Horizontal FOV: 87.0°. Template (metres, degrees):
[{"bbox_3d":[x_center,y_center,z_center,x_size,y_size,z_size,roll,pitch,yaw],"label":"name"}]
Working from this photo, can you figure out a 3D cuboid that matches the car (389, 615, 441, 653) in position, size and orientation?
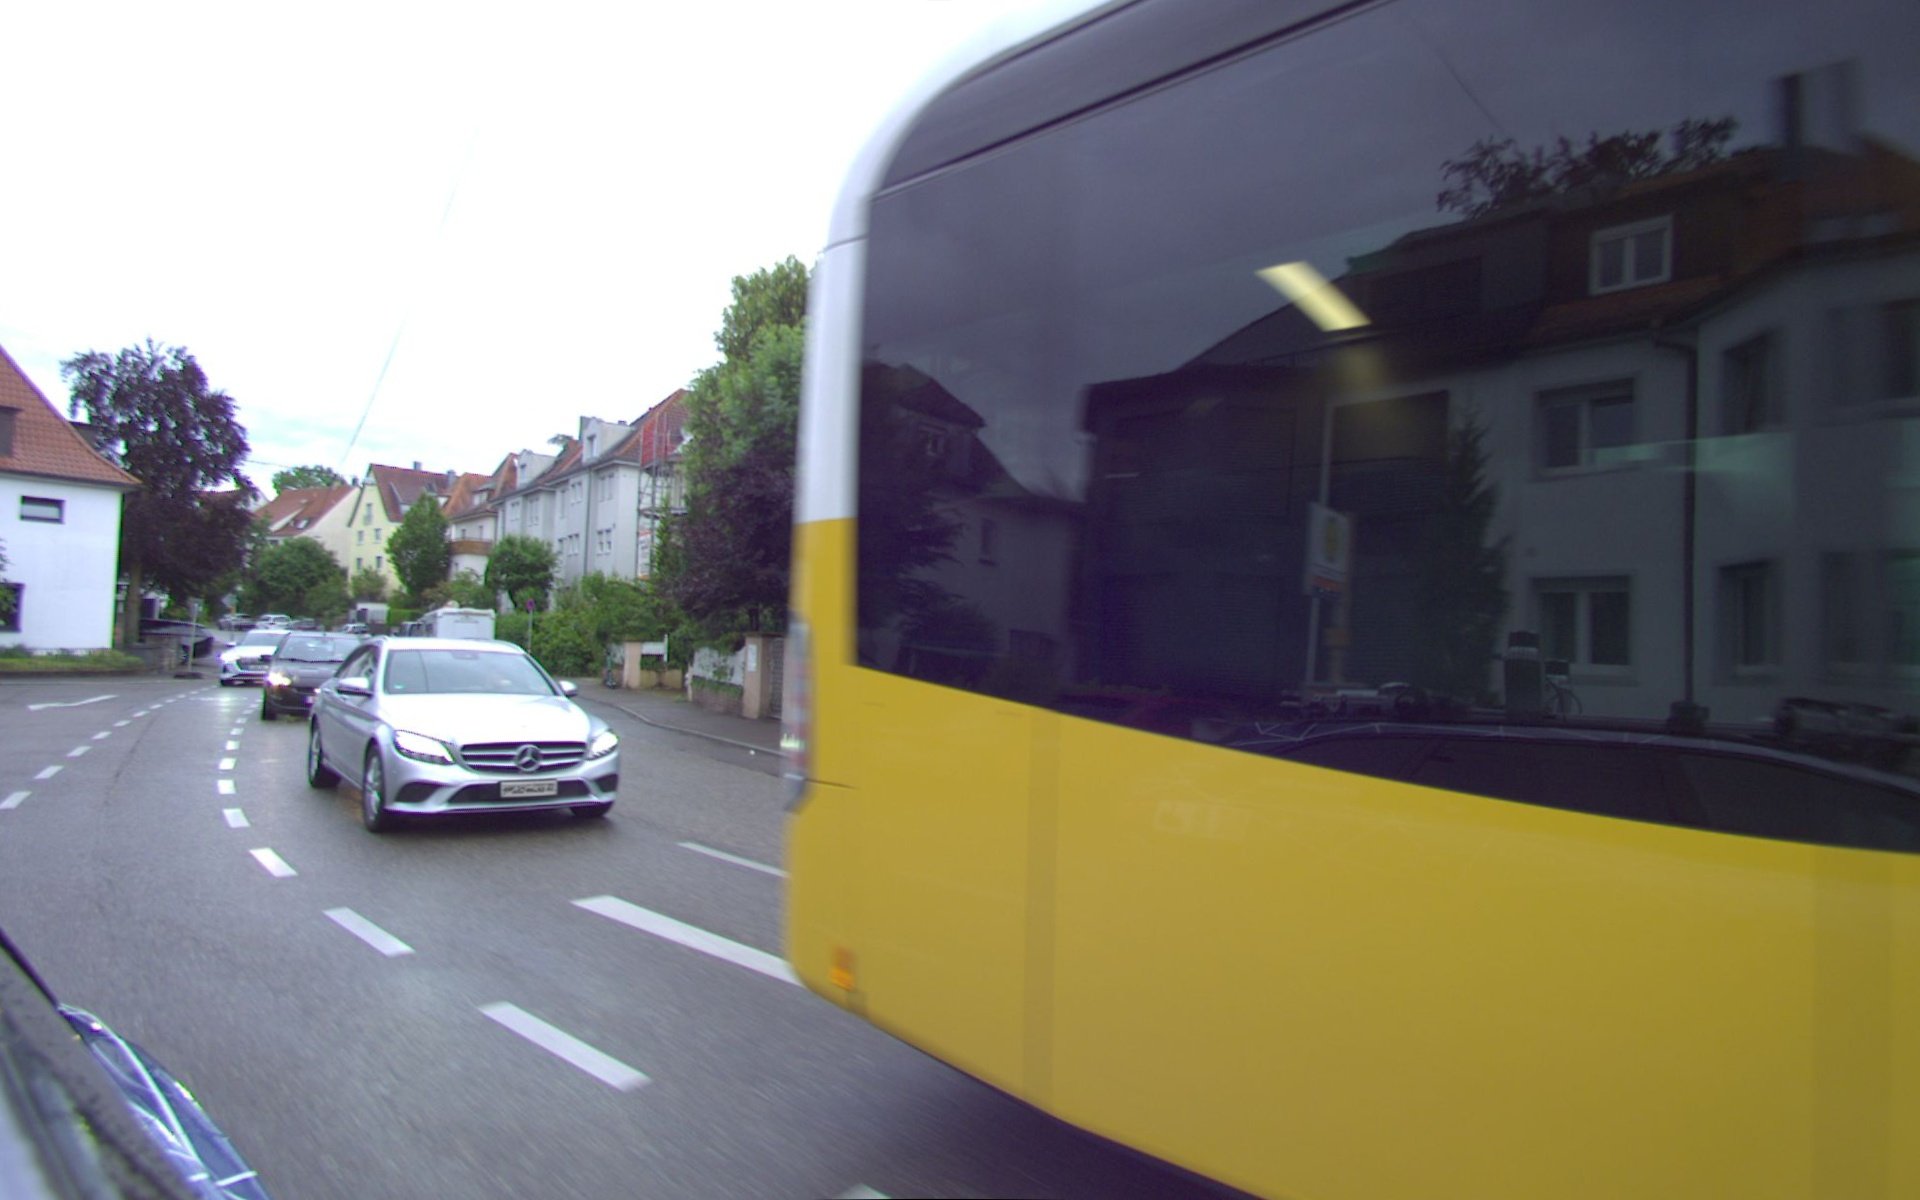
[{"bbox_3d":[-30.360,1.840,56.324,1.808,2.003,4.591,1,-1,-38],"label":"car"}]

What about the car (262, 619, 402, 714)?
[{"bbox_3d":[-11.101,1.081,17.784,1.868,1.475,3.691,2,-2,-35],"label":"car"}]

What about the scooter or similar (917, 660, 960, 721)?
[{"bbox_3d":[-0.408,1.685,18.949,0.599,1.070,0.766,1,-1,-18],"label":"scooter or similar"}]

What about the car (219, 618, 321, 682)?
[{"bbox_3d":[-19.994,1.397,29.471,1.765,1.712,3.903,1,-1,-24],"label":"car"}]

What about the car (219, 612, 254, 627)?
[{"bbox_3d":[-69.625,1.894,97.389,4.433,1.383,1.658,-1,-2,40],"label":"car"}]

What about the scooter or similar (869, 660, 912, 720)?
[{"bbox_3d":[-1.310,1.680,19.021,0.599,1.070,0.766,1,-1,-18],"label":"scooter or similar"}]

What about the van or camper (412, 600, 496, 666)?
[{"bbox_3d":[-22.573,1.438,45.018,2.316,2.746,6.131,3,-2,-36],"label":"van or camper"}]

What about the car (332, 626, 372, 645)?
[{"bbox_3d":[-44.750,2.606,74.434,3.441,1.383,1.656,-1,-2,44],"label":"car"}]

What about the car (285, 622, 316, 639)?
[{"bbox_3d":[-55.366,2.572,84.921,1.655,1.383,3.444,1,-2,-42],"label":"car"}]

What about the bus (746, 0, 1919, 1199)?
[{"bbox_3d":[3.540,-0.266,1.392,8.672,3.424,2.649,-1,-4,40],"label":"bus"}]

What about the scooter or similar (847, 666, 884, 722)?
[{"bbox_3d":[-1.727,1.707,18.450,0.535,0.973,0.594,1,-1,-18],"label":"scooter or similar"}]

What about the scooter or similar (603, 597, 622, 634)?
[{"bbox_3d":[-11.461,0.517,33.388,0.396,1.197,1.144,1,-2,-28],"label":"scooter or similar"}]

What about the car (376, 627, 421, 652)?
[{"bbox_3d":[-34.767,2.427,62.595,1.654,1.383,4.519,1,-1,-39],"label":"car"}]

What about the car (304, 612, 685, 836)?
[{"bbox_3d":[-4.391,0.950,9.119,1.968,1.491,4.493,3,-4,-40],"label":"car"}]

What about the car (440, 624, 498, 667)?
[{"bbox_3d":[-19.658,1.807,40.486,1.573,1.607,3.326,3,-2,-34],"label":"car"}]

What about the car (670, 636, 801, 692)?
[{"bbox_3d":[-6.927,2.011,31.266,3.531,1.553,1.714,5,-6,-31],"label":"car"}]

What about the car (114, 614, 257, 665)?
[{"bbox_3d":[-33.436,1.720,43.877,4.667,1.823,1.947,6,-5,-34],"label":"car"}]

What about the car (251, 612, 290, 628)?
[{"bbox_3d":[-61.868,1.793,90.827,4.433,1.383,1.658,-1,-5,40],"label":"car"}]
